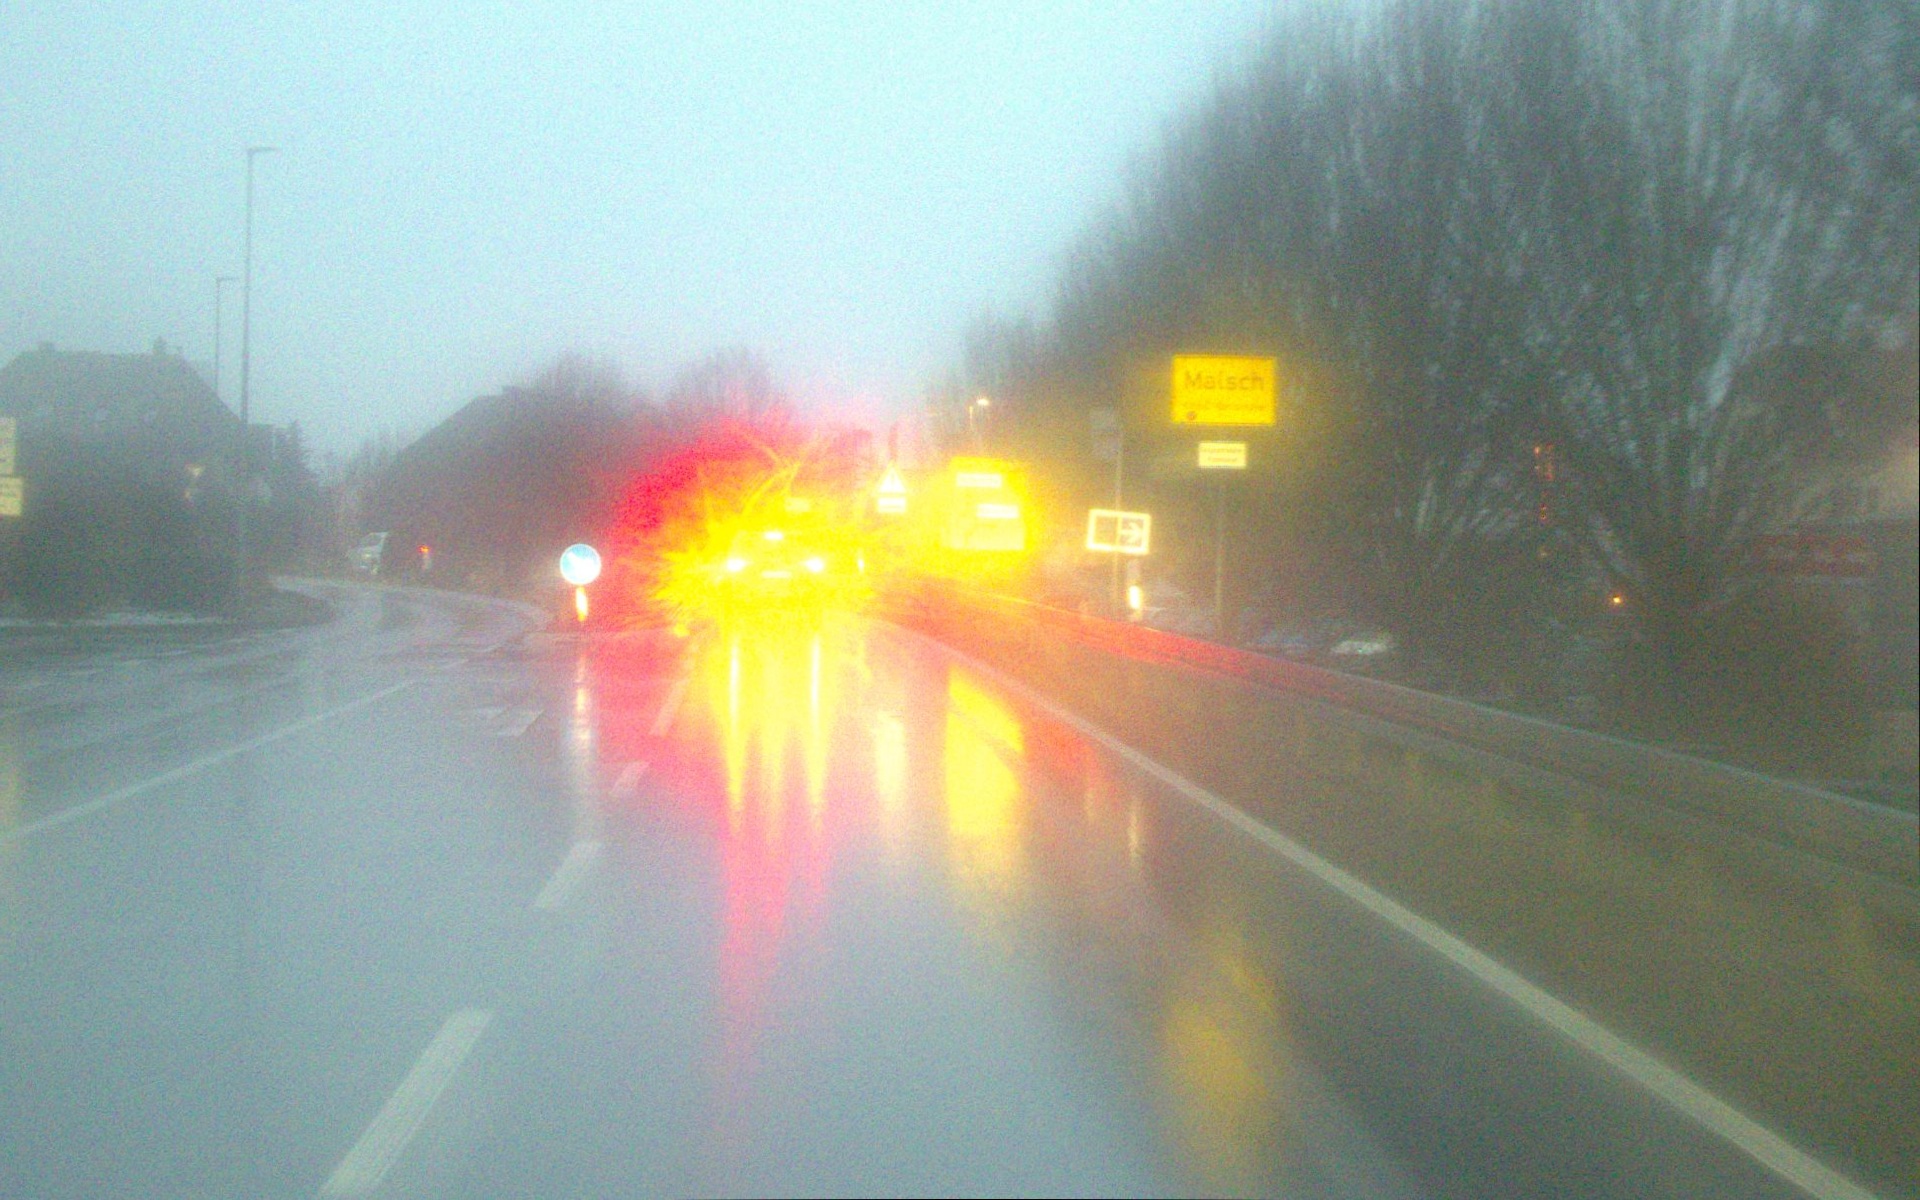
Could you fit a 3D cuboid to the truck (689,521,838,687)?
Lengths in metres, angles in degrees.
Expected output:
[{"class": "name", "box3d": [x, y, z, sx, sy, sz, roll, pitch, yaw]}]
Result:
[{"class": "truck", "box3d": [-3.720, 0.019, 63.945, 2.531, 2.859, 5.923, 2, 1, -5]}]
